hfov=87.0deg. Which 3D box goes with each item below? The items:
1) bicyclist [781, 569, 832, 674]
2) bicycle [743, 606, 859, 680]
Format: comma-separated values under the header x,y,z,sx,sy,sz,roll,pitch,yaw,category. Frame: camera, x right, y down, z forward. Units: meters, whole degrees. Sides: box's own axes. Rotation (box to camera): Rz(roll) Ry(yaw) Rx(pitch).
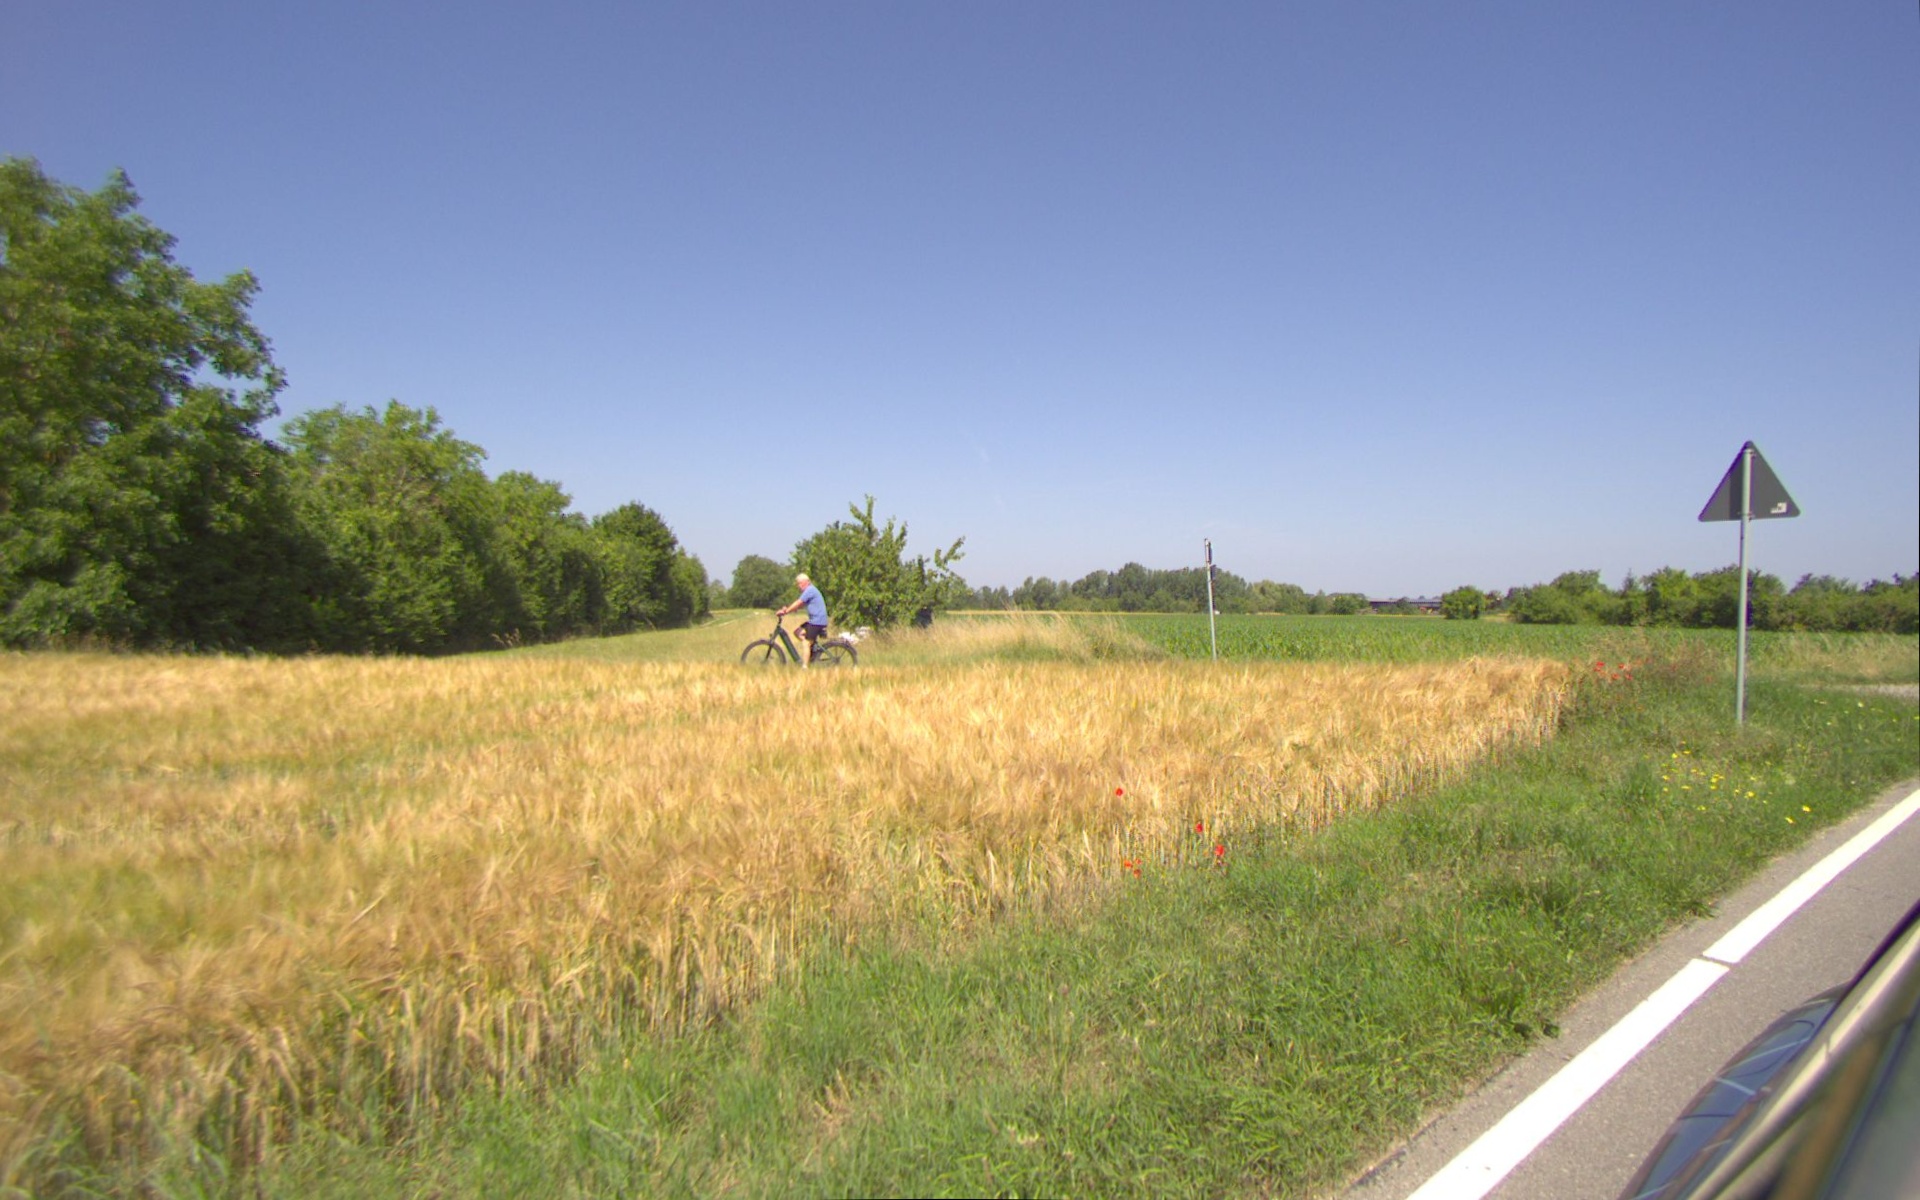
x,y,z,sx,sy,sz,roll,pitch,yaw,category
-2.387,0.329,15.796,0.721,1.594,0.675,0,-1,-1,bicyclist
-2.460,0.657,15.791,1.735,1.130,0.522,0,-1,-1,bicycle
